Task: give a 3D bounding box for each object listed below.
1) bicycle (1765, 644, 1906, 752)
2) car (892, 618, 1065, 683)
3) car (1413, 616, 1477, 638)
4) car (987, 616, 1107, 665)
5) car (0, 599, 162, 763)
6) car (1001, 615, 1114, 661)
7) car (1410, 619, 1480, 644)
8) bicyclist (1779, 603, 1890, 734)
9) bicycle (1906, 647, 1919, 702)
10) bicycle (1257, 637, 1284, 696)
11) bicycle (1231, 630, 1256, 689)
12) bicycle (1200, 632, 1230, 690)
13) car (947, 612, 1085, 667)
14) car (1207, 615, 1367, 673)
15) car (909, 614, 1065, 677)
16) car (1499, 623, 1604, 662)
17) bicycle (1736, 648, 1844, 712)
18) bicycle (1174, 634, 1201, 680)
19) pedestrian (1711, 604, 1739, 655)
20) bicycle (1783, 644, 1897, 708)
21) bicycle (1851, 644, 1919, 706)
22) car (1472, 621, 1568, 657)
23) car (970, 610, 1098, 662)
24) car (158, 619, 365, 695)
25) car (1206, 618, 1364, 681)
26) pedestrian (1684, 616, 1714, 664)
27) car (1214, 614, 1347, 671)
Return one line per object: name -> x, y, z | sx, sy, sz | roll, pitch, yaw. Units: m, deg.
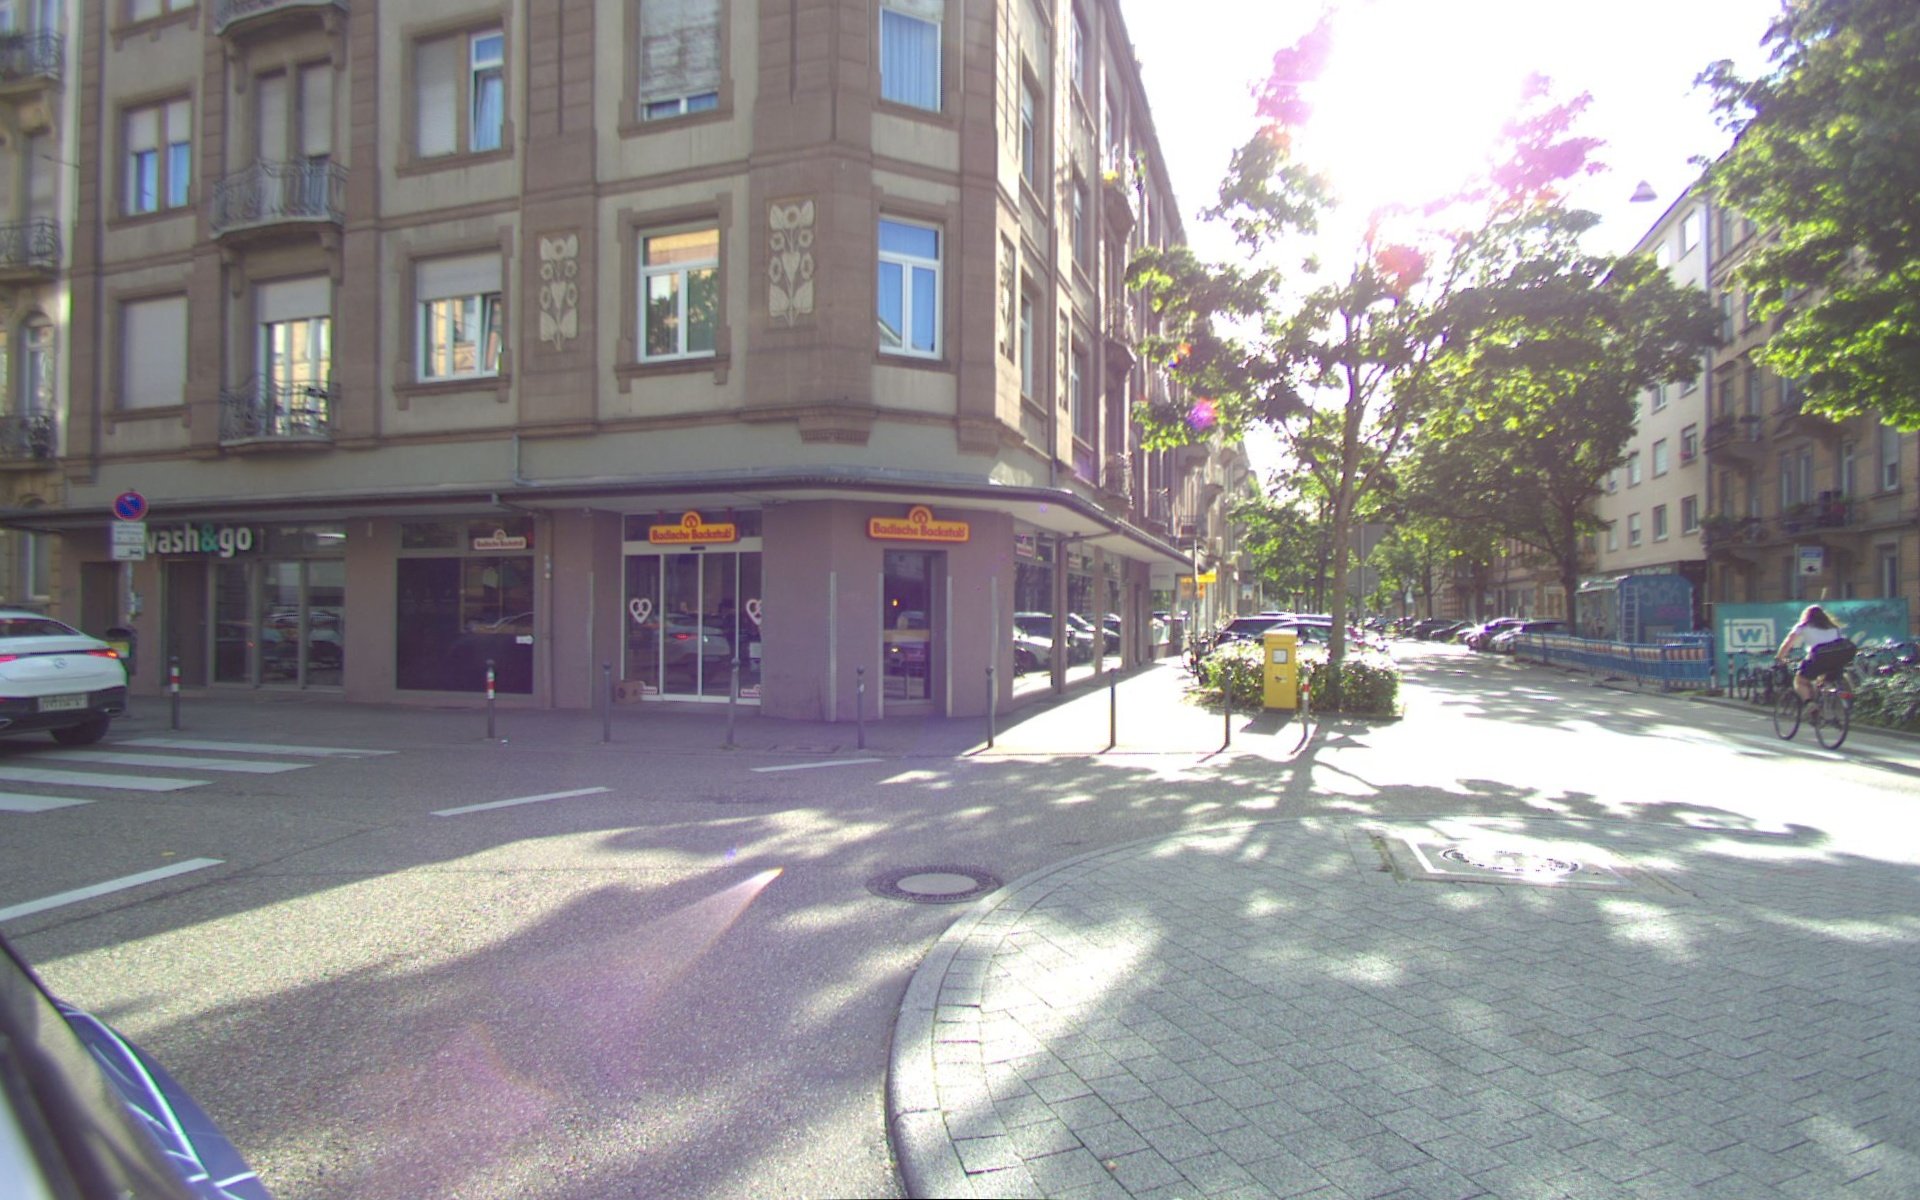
bicycle -> 11.197, 1.201, 13.032 | 0.688, 1.208, 1.965 | 0, -1, 19
car -> 0.481, 1.180, 24.274 | 3.955, 1.441, 1.761 | -1, 0, 9
car -> 35.238, 1.957, 73.672 | 3.968, 1.582, 1.824 | -1, 0, 19
car -> 3.010, 1.378, 34.599 | 3.955, 1.563, 1.761 | -1, 0, 9
car -> -11.832, 0.880, 11.441 | 4.799, 1.647, 1.990 | -1, -1, 15
car -> 3.552, 1.368, 36.601 | 3.955, 1.563, 1.761 | -1, 0, 9
car -> 32.452, 2.120, 67.845 | 3.968, 1.582, 1.824 | -1, 0, 19
bicyclist -> 11.161, 0.838, 12.958 | 0.688, 1.599, 1.120 | 0, -1, 20
bicycle -> 18.023, 1.369, 18.107 | 0.585, 1.019, 2.068 | -2, -1, 12
bicycle -> 6.507, 1.360, 21.254 | 0.474, 1.143, 2.419 | 0, -1, 15
bicycle -> 5.995, 1.224, 21.408 | 0.474, 1.143, 2.419 | 0, -1, 15
bicycle -> 5.448, 1.266, 21.566 | 0.574, 1.143, 2.419 | 0, -1, 15
car -> 1.695, 1.156, 30.119 | 3.955, 1.563, 1.761 | -1, 0, 9
car -> 8.905, 1.176, 27.698 | 4.043, 1.487, 1.567 | -1, 0, 20
car -> 0.754, 1.172, 26.759 | 3.955, 1.563, 1.761 | -1, 0, 9
car -> 26.451, 1.870, 45.400 | 3.984, 1.614, 1.860 | -1, 0, 30
bicycle -> 15.137, 1.437, 18.535 | 0.585, 1.037, 2.133 | -2, -1, 12
bicycle -> 5.651, 1.386, 25.112 | 0.599, 1.036, 1.773 | -1, 0, 14
pedestrian -> 27.376, 1.055, 36.214 | 0.619, 1.832, 0.518 | 0, -1, 18
bicycle -> 15.822, 1.336, 18.259 | 0.585, 1.037, 2.068 | -2, -1, 12
bicycle -> 16.850, 1.315, 17.959 | 0.585, 1.019, 2.068 | -2, -1, 12
car -> 27.095, 1.856, 49.027 | 3.984, 1.614, 1.860 | -1, 0, 30
car -> 2.392, 1.144, 32.191 | 3.955, 1.563, 1.761 | -1, 0, 9
car -> -16.951, 1.322, 24.816 | 1.978, 1.633, 3.988 | -1, 0, 10
car -> 8.123, 1.209, 25.458 | 3.668, 1.487, 1.568 | -1, 0, 18
pedestrian -> 26.624, 1.434, 36.467 | 0.696, 1.685, 0.518 | 0, -1, 17
car -> 9.549, 1.243, 30.242 | 3.670, 1.608, 1.567 | -1, 0, 20
